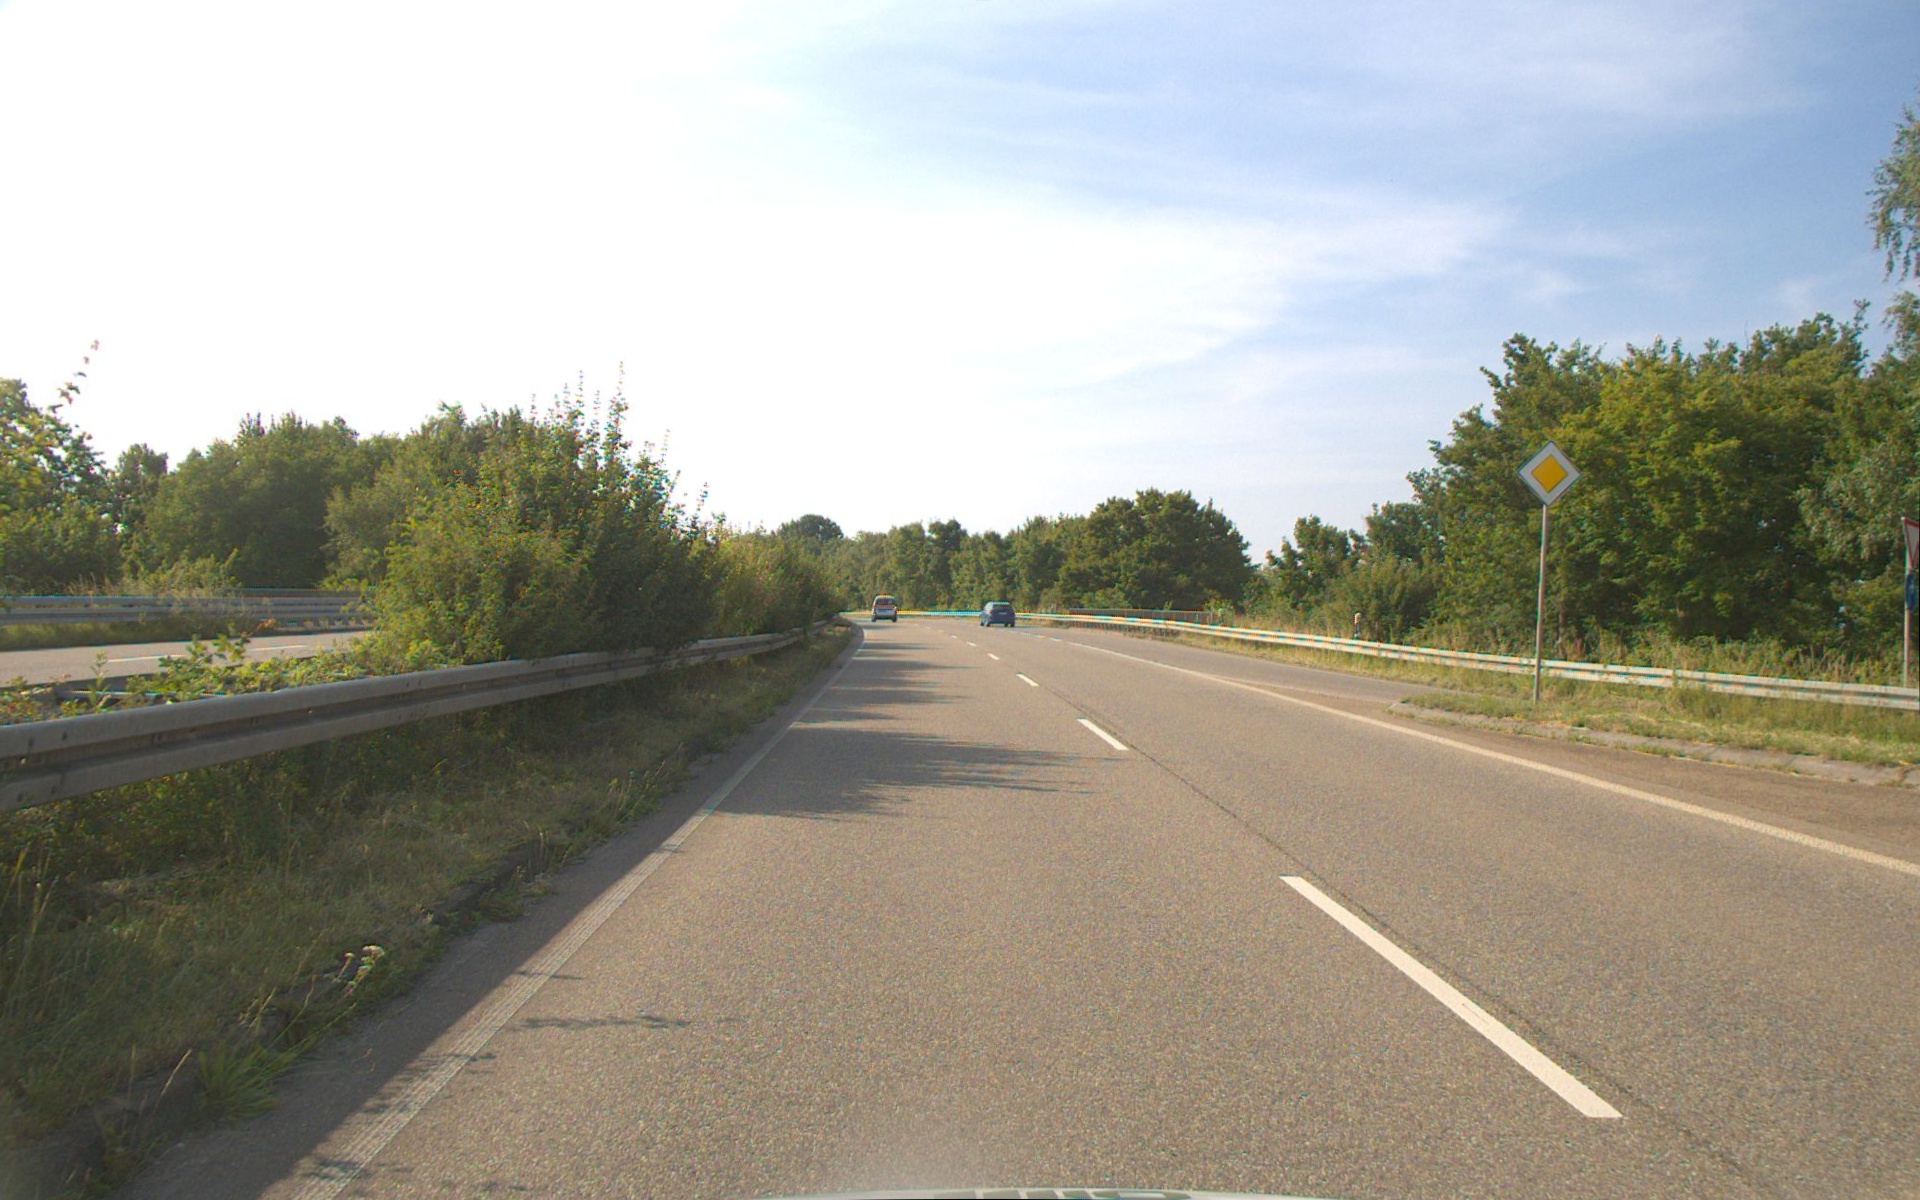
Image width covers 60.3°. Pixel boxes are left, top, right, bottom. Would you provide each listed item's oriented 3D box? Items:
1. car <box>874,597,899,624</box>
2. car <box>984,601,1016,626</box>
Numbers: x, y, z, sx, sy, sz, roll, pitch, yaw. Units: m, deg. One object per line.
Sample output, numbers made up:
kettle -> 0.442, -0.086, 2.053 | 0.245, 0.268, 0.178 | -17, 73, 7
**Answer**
car -> -5.217, 0.748, 117.226 | 1.730, 1.915, 3.998 | 1, 0, -2
car -> 2.421, 0.840, 100.580 | 1.743, 1.477, 3.998 | 0, -1, -1
